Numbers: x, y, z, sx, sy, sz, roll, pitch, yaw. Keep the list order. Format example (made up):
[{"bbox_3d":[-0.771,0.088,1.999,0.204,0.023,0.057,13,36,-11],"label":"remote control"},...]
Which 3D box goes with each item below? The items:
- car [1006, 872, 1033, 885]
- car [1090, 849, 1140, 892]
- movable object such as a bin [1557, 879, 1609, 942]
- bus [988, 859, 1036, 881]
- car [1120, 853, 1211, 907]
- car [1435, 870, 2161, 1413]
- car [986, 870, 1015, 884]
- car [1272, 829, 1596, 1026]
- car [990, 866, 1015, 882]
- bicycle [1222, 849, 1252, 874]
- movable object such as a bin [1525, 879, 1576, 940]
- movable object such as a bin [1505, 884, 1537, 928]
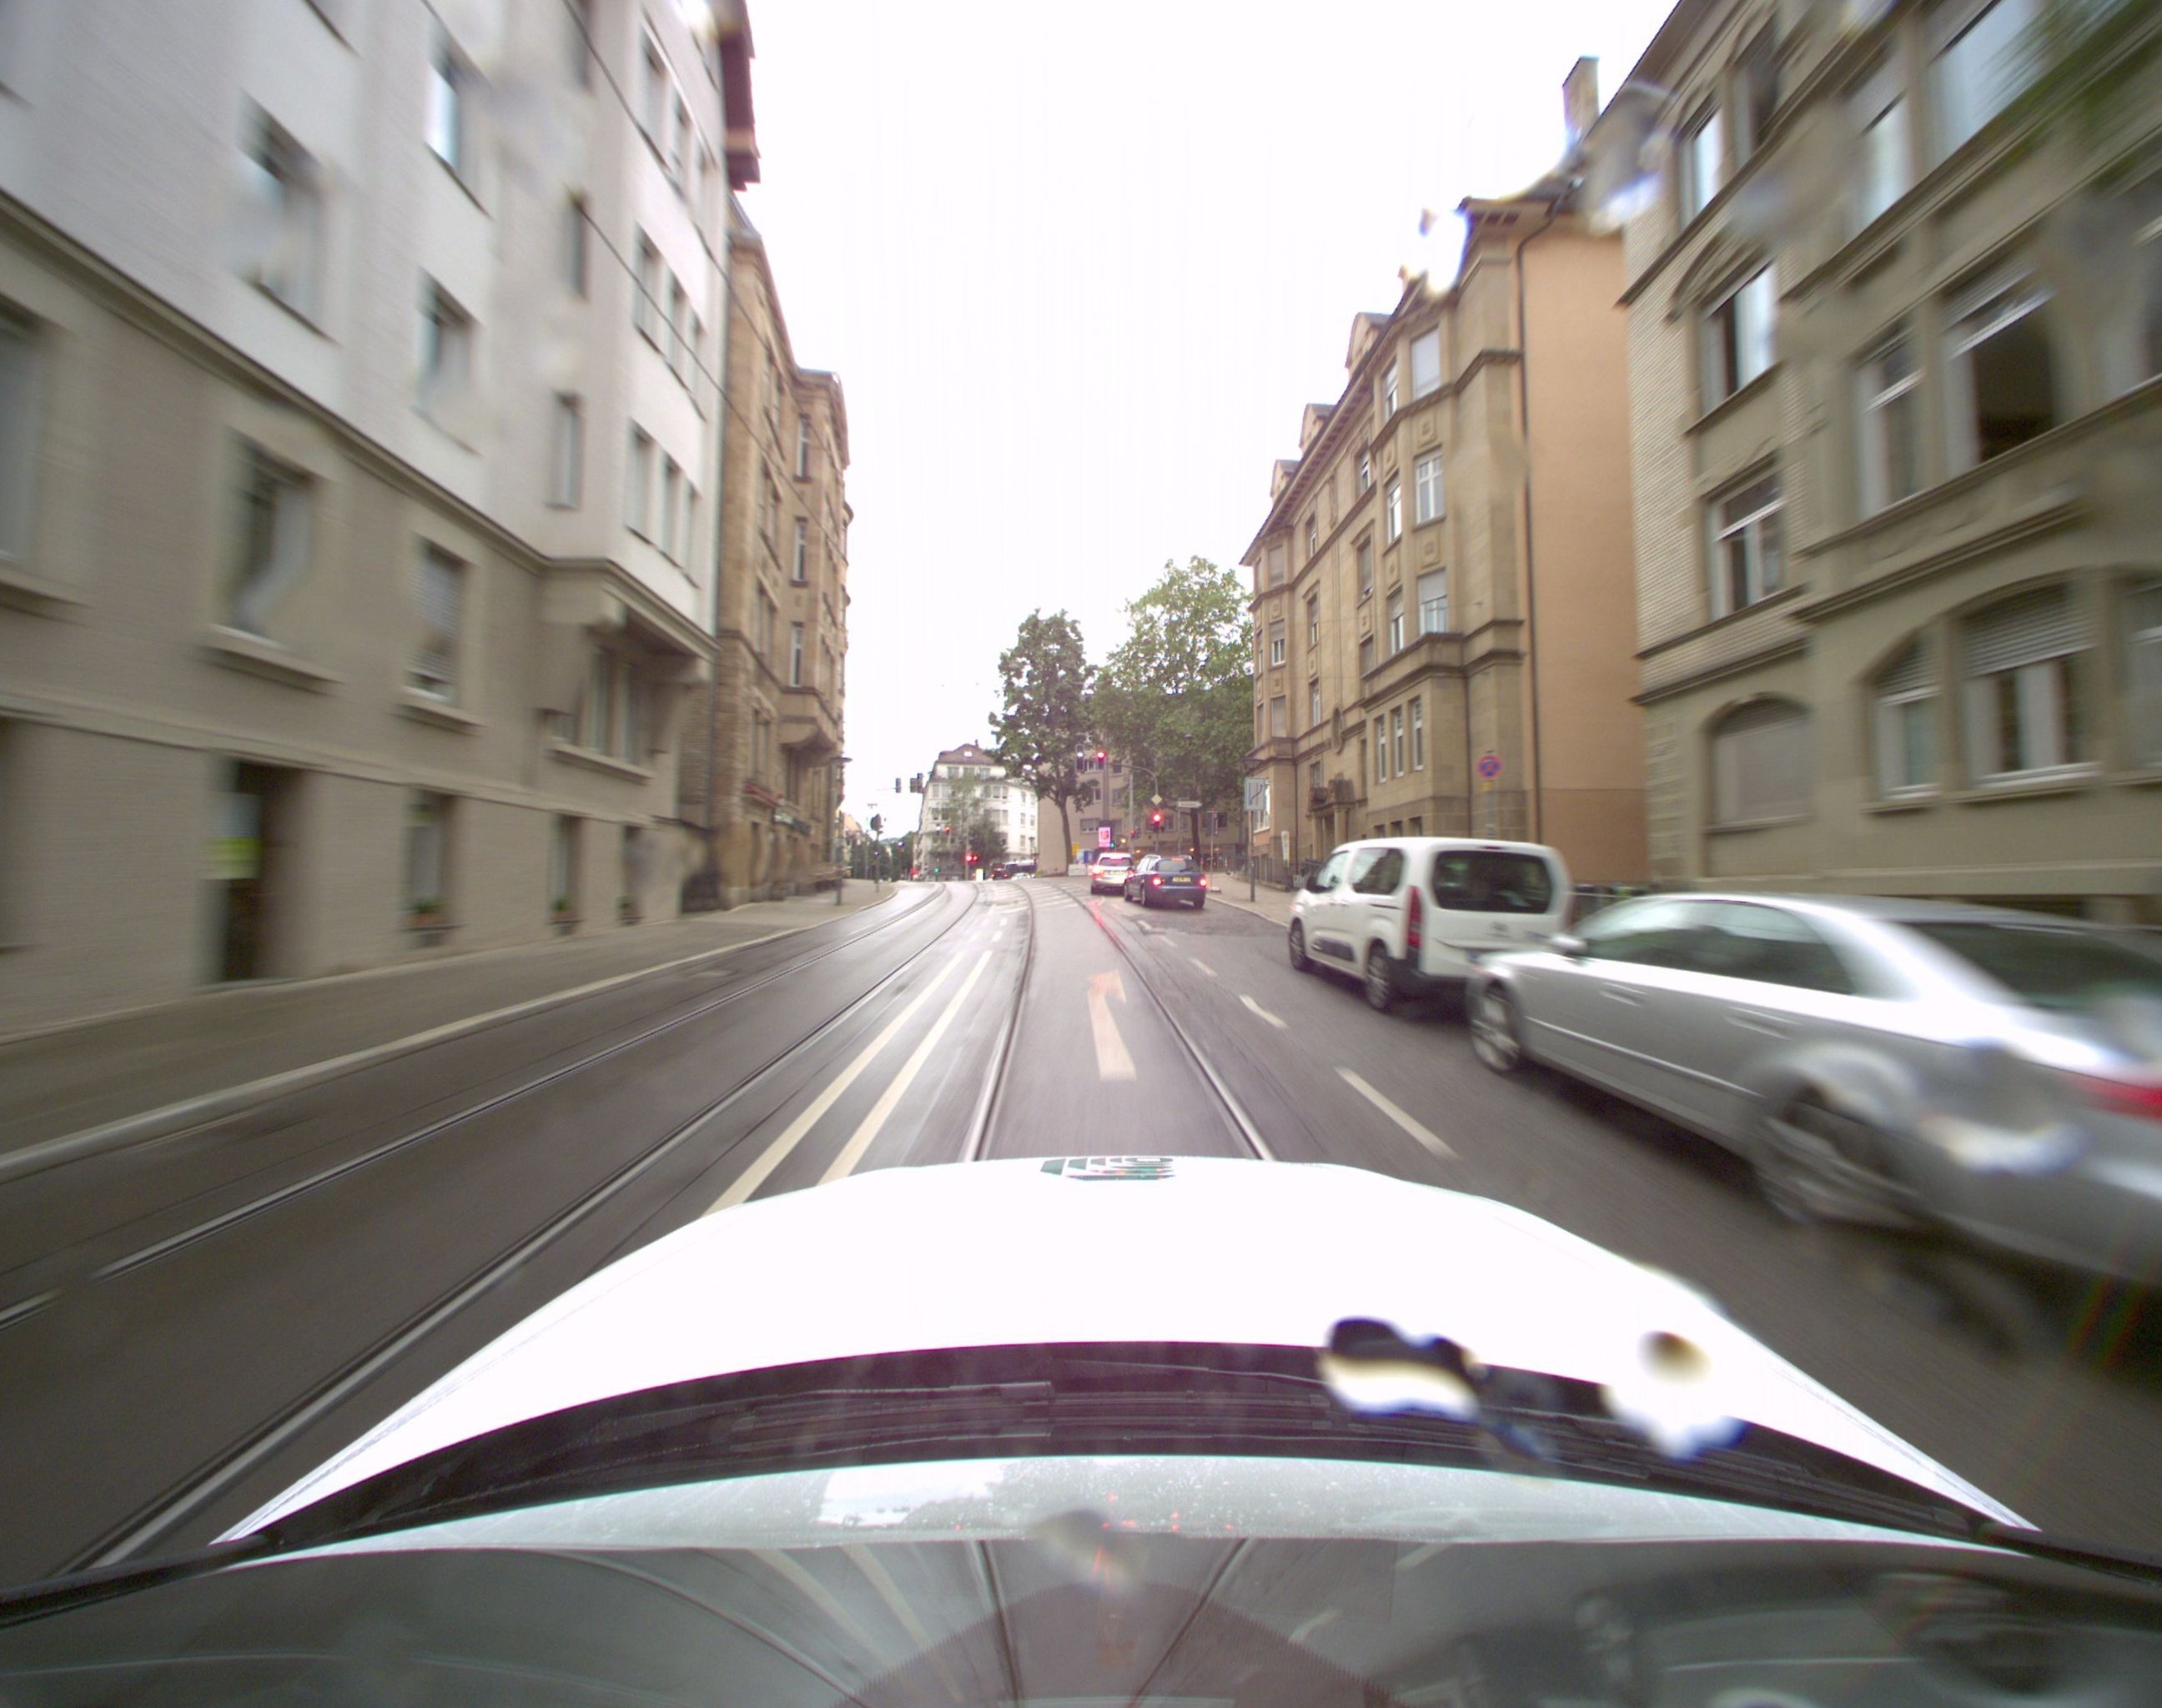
[{"bbox_3d":[-8.109,3.193,107.446,1.778,1.510,4.023,-1,0,25],"label":"car"},{"bbox_3d":[1.196,0.560,29.769,1.704,1.456,3.553,1,1,0],"label":"car"},{"bbox_3d":[9.035,1.006,14.675,0.497,1.061,0.609,4,-1,-1],"label":"movable object such as a bin"},{"bbox_3d":[-9.510,2.163,113.536,2.829,2.861,8.780,-1,0,22],"label":"bus"},{"bbox_3d":[2.374,0.697,23.895,1.709,1.415,4.025,1,1,-8],"label":"car"},{"bbox_3d":[3.818,0.873,4.512,1.743,1.400,4.477,2,0,0],"label":"car"},{"bbox_3d":[-10.170,2.928,102.757,1.778,1.614,4.023,-1,0,25],"label":"car"},{"bbox_3d":[3.790,0.672,9.746,1.793,1.765,4.460,2,0,-2],"label":"car"},{"bbox_3d":[-8.327,2.101,86.602,1.785,1.510,4.008,-3,0,7],"label":"car"},{"bbox_3d":[7.644,0.356,39.985,1.298,1.173,0.525,-2,0,-5],"label":"bicycle"},{"bbox_3d":[8.409,0.983,14.607,0.525,1.030,0.665,4,-1,5],"label":"movable object such as a bin"},{"bbox_3d":[10.076,1.187,18.659,0.392,0.943,0.518,4,-1,-4],"label":"movable object such as a bin"}]
